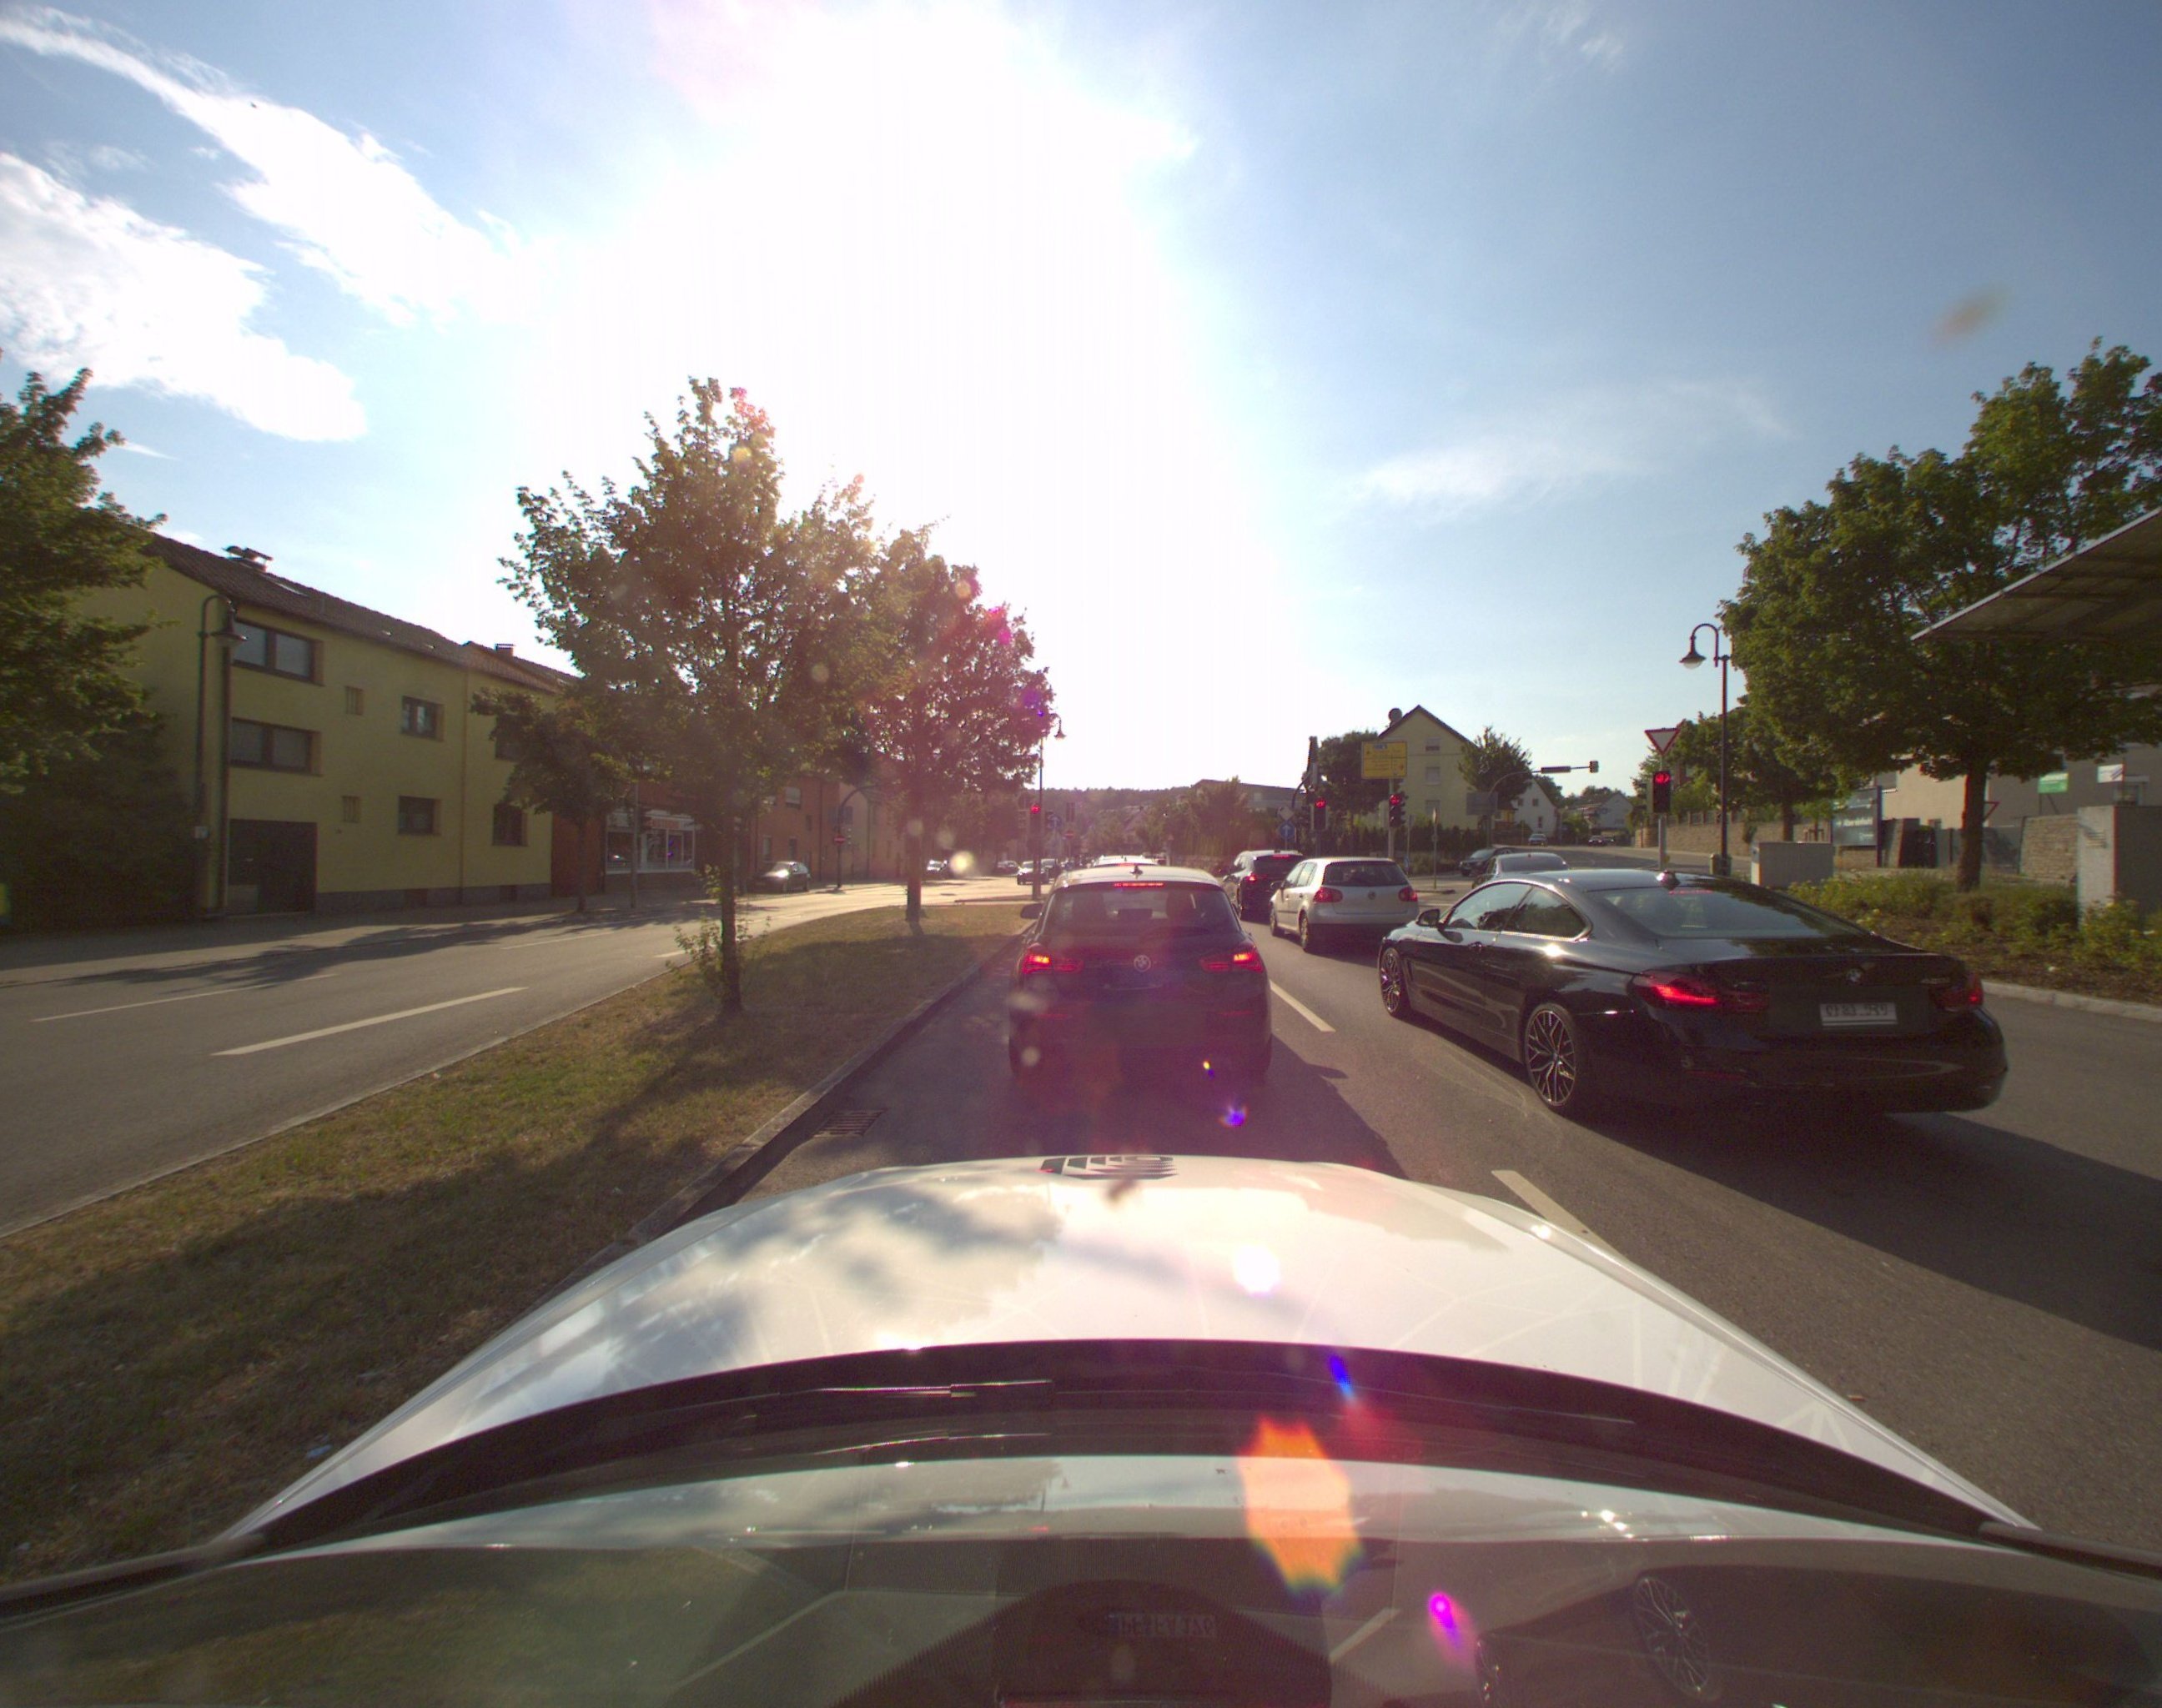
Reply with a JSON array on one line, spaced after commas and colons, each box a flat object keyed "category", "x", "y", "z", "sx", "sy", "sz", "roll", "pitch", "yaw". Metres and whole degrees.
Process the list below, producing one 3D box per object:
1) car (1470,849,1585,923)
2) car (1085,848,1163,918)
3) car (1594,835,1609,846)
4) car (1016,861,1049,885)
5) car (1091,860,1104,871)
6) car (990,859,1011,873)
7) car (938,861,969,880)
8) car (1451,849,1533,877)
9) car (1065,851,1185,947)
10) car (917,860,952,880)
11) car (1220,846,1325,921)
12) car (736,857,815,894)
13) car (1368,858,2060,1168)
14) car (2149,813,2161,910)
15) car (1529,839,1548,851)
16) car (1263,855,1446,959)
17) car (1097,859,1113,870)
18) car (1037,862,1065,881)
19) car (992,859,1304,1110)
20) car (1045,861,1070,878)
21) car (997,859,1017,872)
[{"category": "car", "x": 9.867, "y": 0.633, "z": 18.304, "sx": 1.666, "sy": 1.435, "sz": 4.613, "roll": -1, "pitch": 0, "yaw": 21}, {"category": "car", "x": 1.132, "y": 0.691, "z": 21.279, "sx": 1.808, "sy": 1.641, "sz": 4.245, "roll": -1, "pitch": 0, "yaw": 3}, {"category": "car", "x": 81.766, "y": -2.130, "z": 127.917, "sx": 1.759, "sy": 1.580, "sz": 4.025, "roll": -1, "pitch": 0, "yaw": 37}, {"category": "car", "x": -3.014, "y": 1.164, "z": 51.692, "sx": 1.760, "sy": 1.458, "sz": 4.001, "roll": 0, "pitch": 0, "yaw": 1}, {"category": "car", "x": 2.846, "y": 1.978, "z": 138.959, "sx": 1.887, "sy": 1.702, "sz": 4.518, "roll": -2, "pitch": 0, "yaw": -4}, {"category": "car", "x": -9.615, "y": 1.383, "z": 97.711, "sx": 1.916, "sy": 1.596, "sz": 4.004, "roll": 0, "pitch": 0, "yaw": 4}, {"category": "car", "x": -11.449, "y": 1.482, "z": 73.355, "sx": 1.916, "sy": 1.596, "sz": 4.004, "roll": 0, "pitch": 0, "yaw": 4}, {"category": "car", "x": 23.264, "y": 0.475, "z": 46.129, "sx": 4.064, "sy": 1.507, "sz": 1.782, "roll": -1, "pitch": 0, "yaw": -16}, {"category": "car", "x": 0.798, "y": 0.694, "z": 14.506, "sx": 1.808, "sy": 1.451, "sz": 4.245, "roll": -1, "pitch": 0, "yaw": 3}, {"category": "car", "x": -12.148, "y": 1.301, "z": 67.618, "sx": 1.916, "sy": 1.596, "sz": 4.004, "roll": 0, "pitch": 0, "yaw": 4}, {"category": "car", "x": 4.619, "y": 0.660, "z": 20.253, "sx": 1.808, "sy": 1.666, "sz": 4.351, "roll": -1, "pitch": 0, "yaw": 3}, {"category": "car", "x": -14.192, "y": 0.962, "z": 38.094, "sx": 1.835, "sy": 1.552, "sz": 4.005, "roll": 2, "pitch": 0, "yaw": 5}, {"category": "car", "x": 3.639, "y": 0.735, "z": 5.889, "sx": 1.808, "sy": 1.388, "sz": 4.351, "roll": -1, "pitch": 0, "yaw": 3}, {"category": "car", "x": 19.507, "y": 0.110, "z": 12.200, "sx": 3.958, "sy": 1.608, "sz": 1.861, "roll": 0, "pitch": 0, "yaw": 14}, {"category": "car", "x": 49.174, "y": -0.957, "z": 87.574, "sx": 1.694, "sy": 1.244, "sz": 4.025, "roll": -1, "pitch": 1, "yaw": 31}, {"category": "car", "x": 4.312, "y": 0.746, "z": 13.587, "sx": 1.808, "sy": 1.446, "sz": 4.351, "roll": -1, "pitch": 0, "yaw": 3}, {"category": "car", "x": 3.465, "y": 1.507, "z": 117.612, "sx": 1.858, "sy": 1.485, "sz": 4.652, "roll": 0, "pitch": 0, "yaw": -4}, {"category": "car", "x": -2.264, "y": 1.323, "z": 61.901, "sx": 1.685, "sy": 1.353, "sz": 4.004, "roll": 0, "pitch": 0, "yaw": 4}, {"category": "car", "x": 0.513, "y": 0.770, "z": 6.877, "sx": 1.783, "sy": 1.414, "sz": 4.351, "roll": -1, "pitch": 0, "yaw": 3}, {"category": "car", "x": -1.977, "y": 1.336, "z": 69.427, "sx": 1.685, "sy": 1.353, "sz": 4.004, "roll": 0, "pitch": 0, "yaw": 4}, {"category": "car", "x": -9.308, "y": 1.392, "z": 103.212, "sx": 1.916, "sy": 1.596, "sz": 4.004, "roll": 0, "pitch": 0, "yaw": 4}]
